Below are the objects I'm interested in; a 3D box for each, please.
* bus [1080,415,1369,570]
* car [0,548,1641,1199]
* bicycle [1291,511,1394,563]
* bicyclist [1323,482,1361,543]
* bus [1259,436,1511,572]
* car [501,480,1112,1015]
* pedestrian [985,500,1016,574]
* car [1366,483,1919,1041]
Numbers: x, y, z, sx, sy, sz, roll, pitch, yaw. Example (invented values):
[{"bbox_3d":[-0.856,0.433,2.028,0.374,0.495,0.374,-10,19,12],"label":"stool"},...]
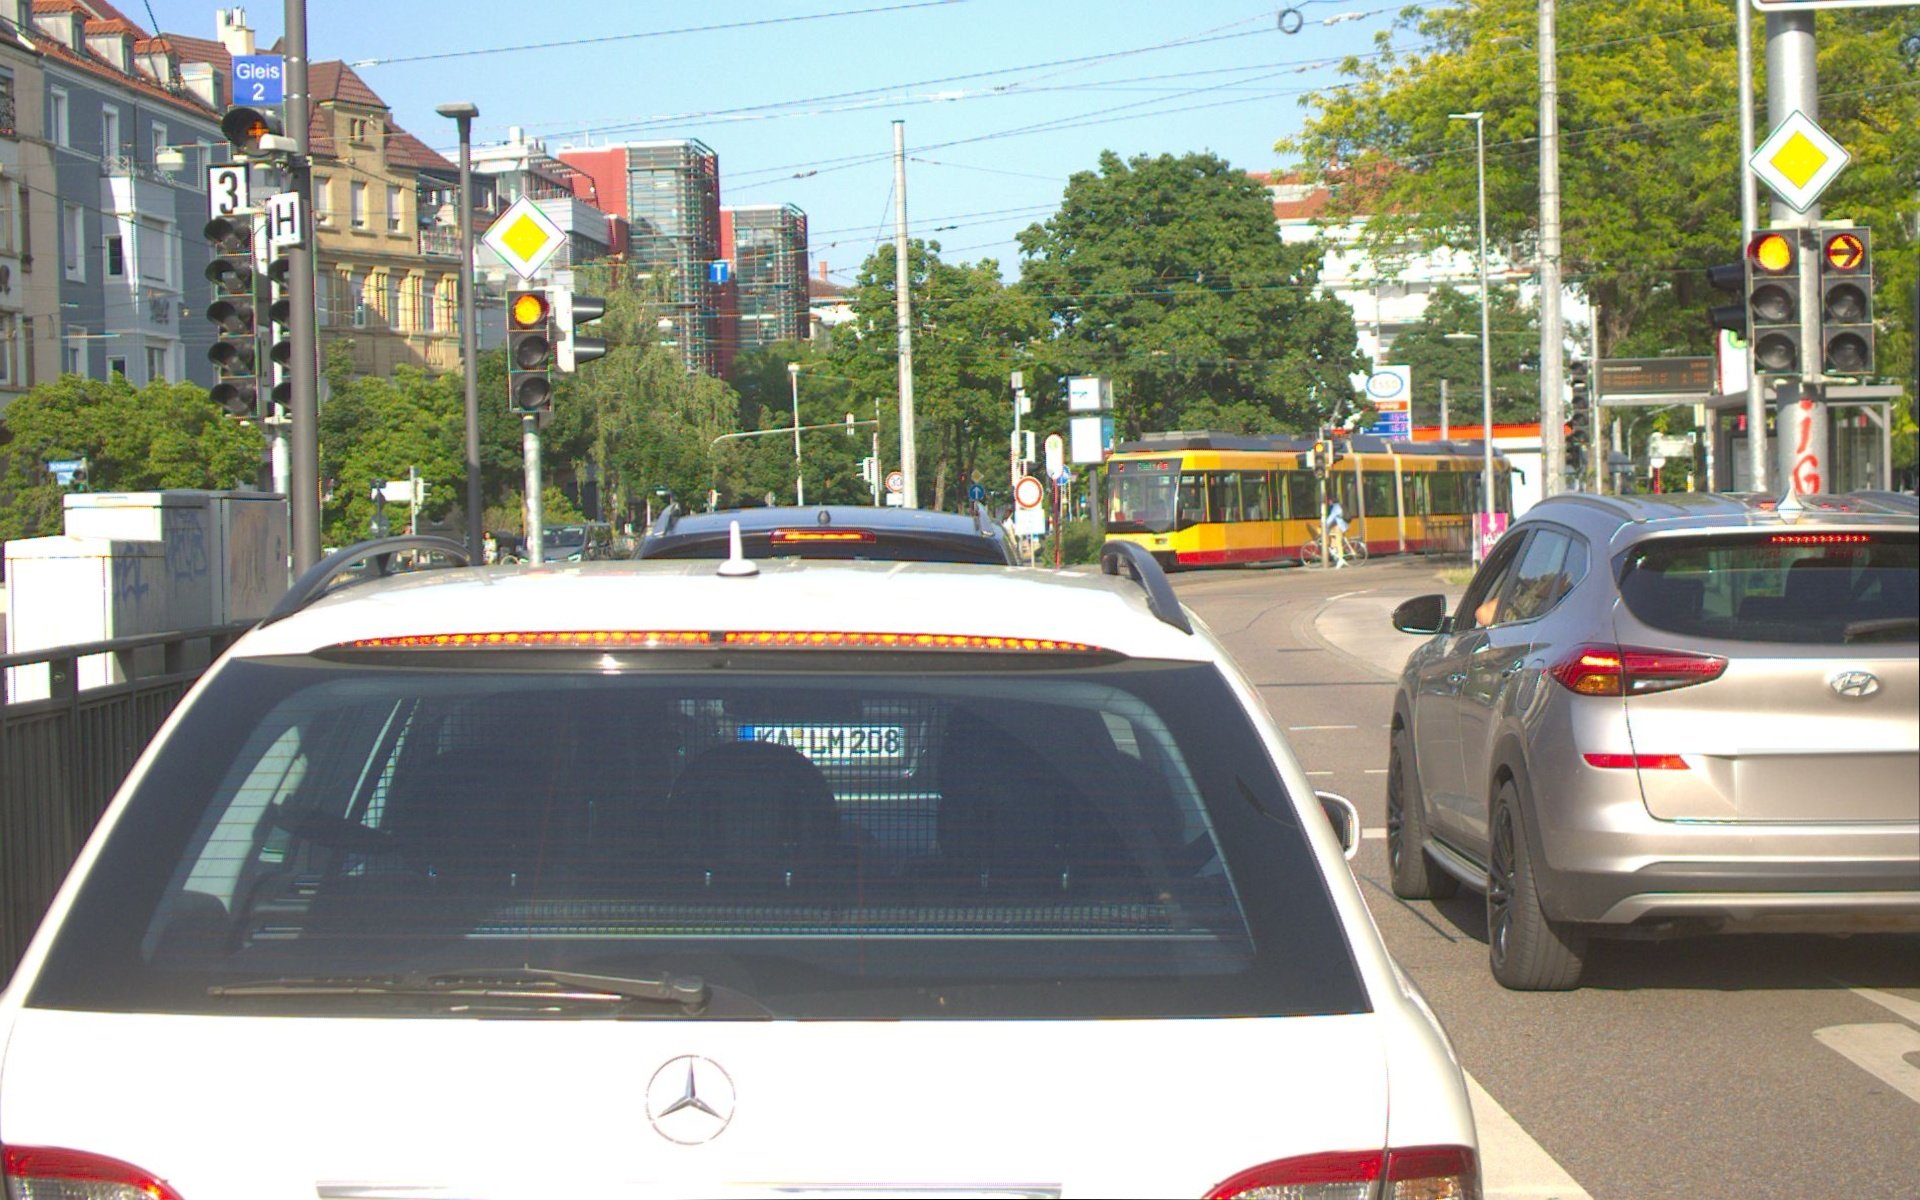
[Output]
[{"bbox_3d":[6.871,-2.590,86.698,3.113,3.593,12.358,1,1,25],"label":"bus"},{"bbox_3d":[-0.301,0.670,4.974,1.796,1.465,3.648,0,1,-1],"label":"car"},{"bbox_3d":[9.452,-1.558,84.941,2.483,1.209,0.806,-1,1,8],"label":"bicycle"},{"bbox_3d":[9.442,-2.161,84.903,0.861,1.476,0.789,-1,1,9],"label":"bicyclist"},{"bbox_3d":[12.278,-2.629,97.944,3.113,3.593,12.573,1,1,26],"label":"bus"},{"bbox_3d":[-0.495,0.423,12.543,1.885,1.645,3.648,1,1,0],"label":"car"},{"bbox_3d":[1.030,-1.604,86.977,0.642,1.850,0.551,-1,1,11],"label":"pedestrian"},{"bbox_3d":[2.634,0.440,12.188,1.885,1.645,3.648,-2,1,0],"label":"car"}]
